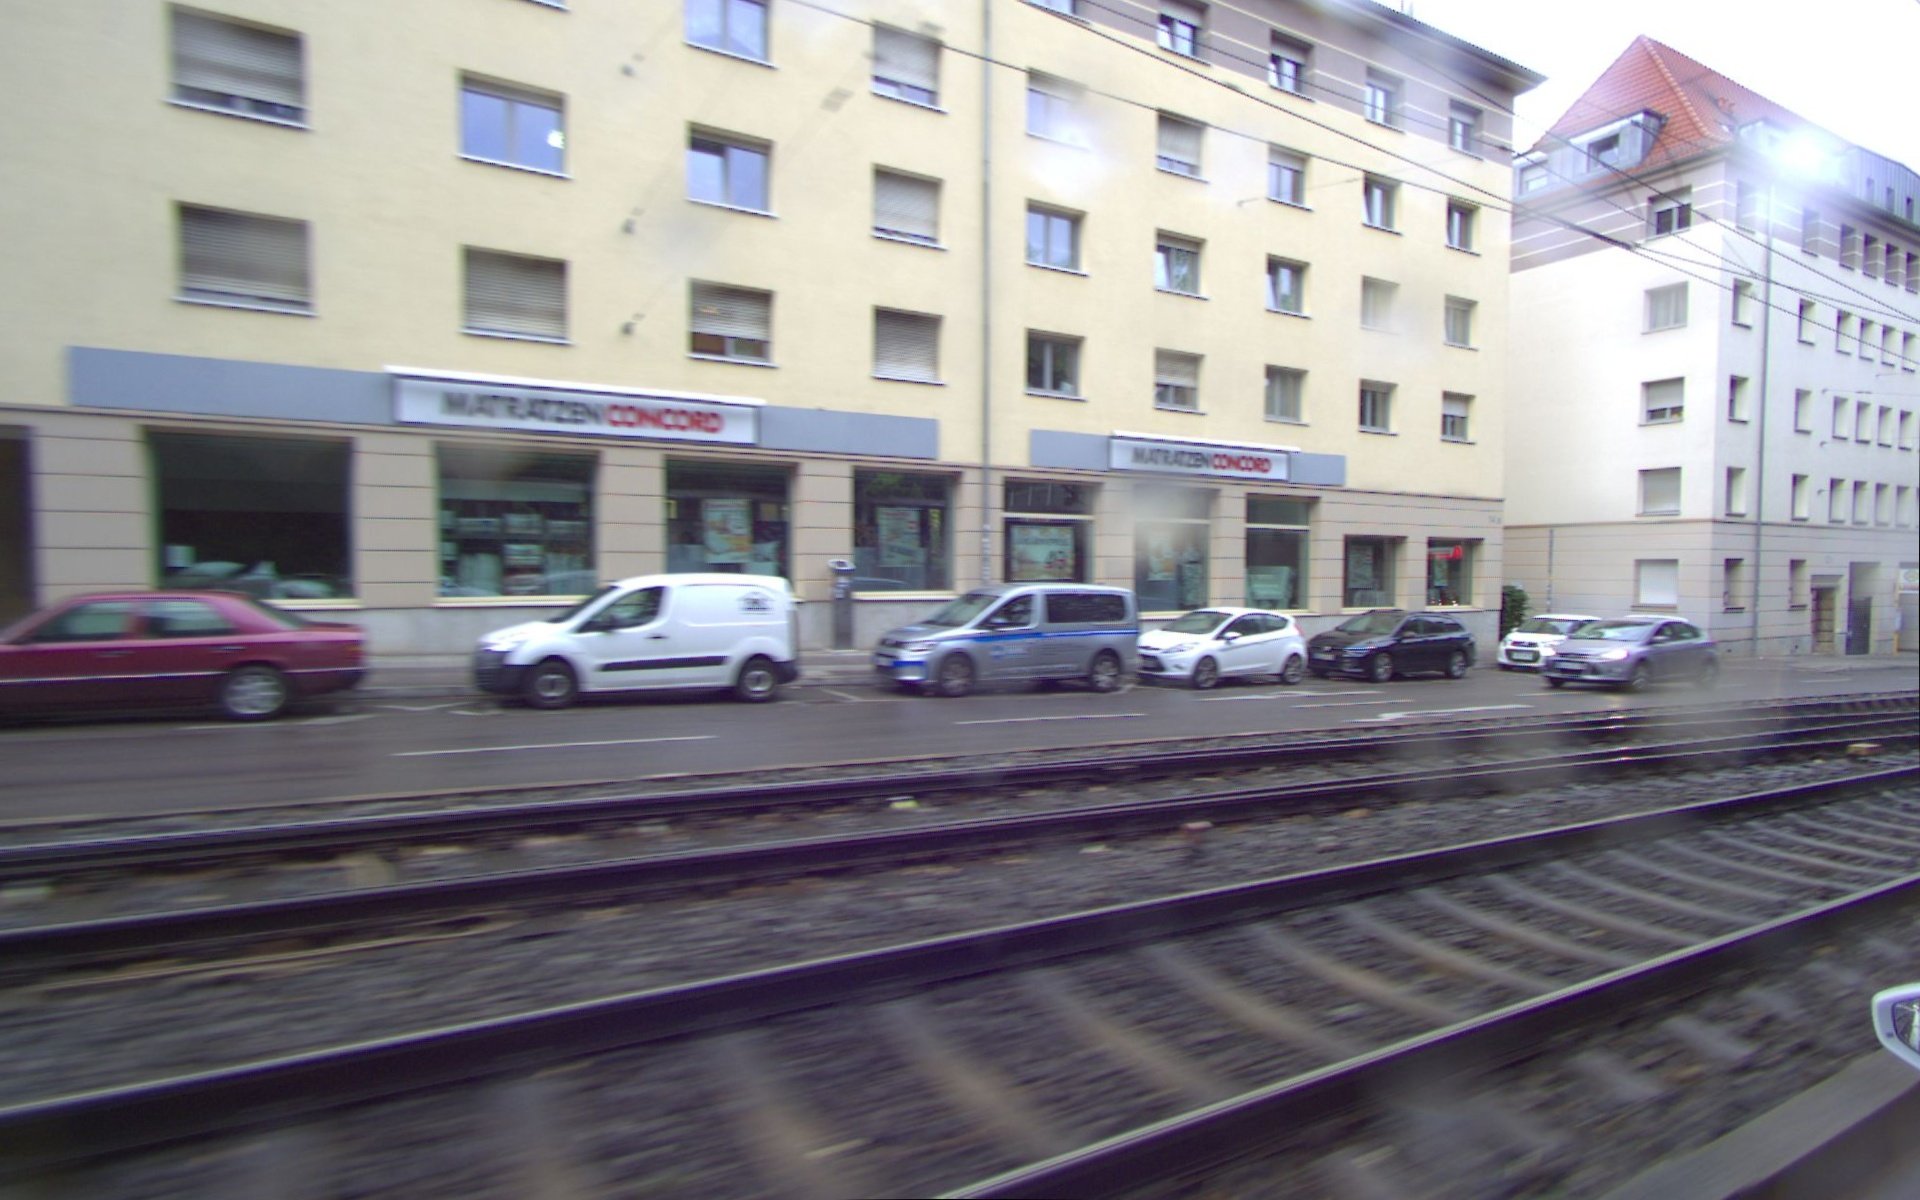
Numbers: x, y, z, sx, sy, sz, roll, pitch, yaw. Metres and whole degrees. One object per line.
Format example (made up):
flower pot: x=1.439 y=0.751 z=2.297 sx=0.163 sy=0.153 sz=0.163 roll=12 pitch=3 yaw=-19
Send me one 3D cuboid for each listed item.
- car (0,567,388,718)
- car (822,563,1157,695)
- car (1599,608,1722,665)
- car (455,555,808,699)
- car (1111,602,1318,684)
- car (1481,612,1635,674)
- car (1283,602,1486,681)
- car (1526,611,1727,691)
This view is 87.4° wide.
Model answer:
car: x=-9.148 y=0.426 z=11.214 sx=4.775 sy=1.451 sz=1.842 roll=2 pitch=2 yaw=-31
car: x=0.573 y=0.470 z=17.033 sx=5.395 sy=1.930 sz=1.984 roll=2 pitch=2 yaw=-30
car: x=20.492 y=1.058 z=29.382 sx=3.503 sy=1.469 sz=1.698 roll=1 pitch=2 yaw=-33
car: x=-4.532 y=0.366 z=13.993 sx=4.406 sy=1.740 sz=1.859 roll=2 pitch=0 yaw=-29
car: x=5.029 y=0.851 z=19.683 sx=4.007 sy=1.458 sz=1.681 roll=1 pitch=-4 yaw=-34
car: x=15.672 y=1.109 z=26.302 sx=3.888 sy=1.415 sz=1.696 roll=1 pitch=2 yaw=-29
car: x=9.450 y=0.878 z=22.277 sx=4.529 sy=1.519 sz=1.804 roll=1 pitch=2 yaw=-31
car: x=13.791 y=1.014 z=20.742 sx=4.228 sy=1.482 sz=1.704 roll=1 pitch=0 yaw=-29
